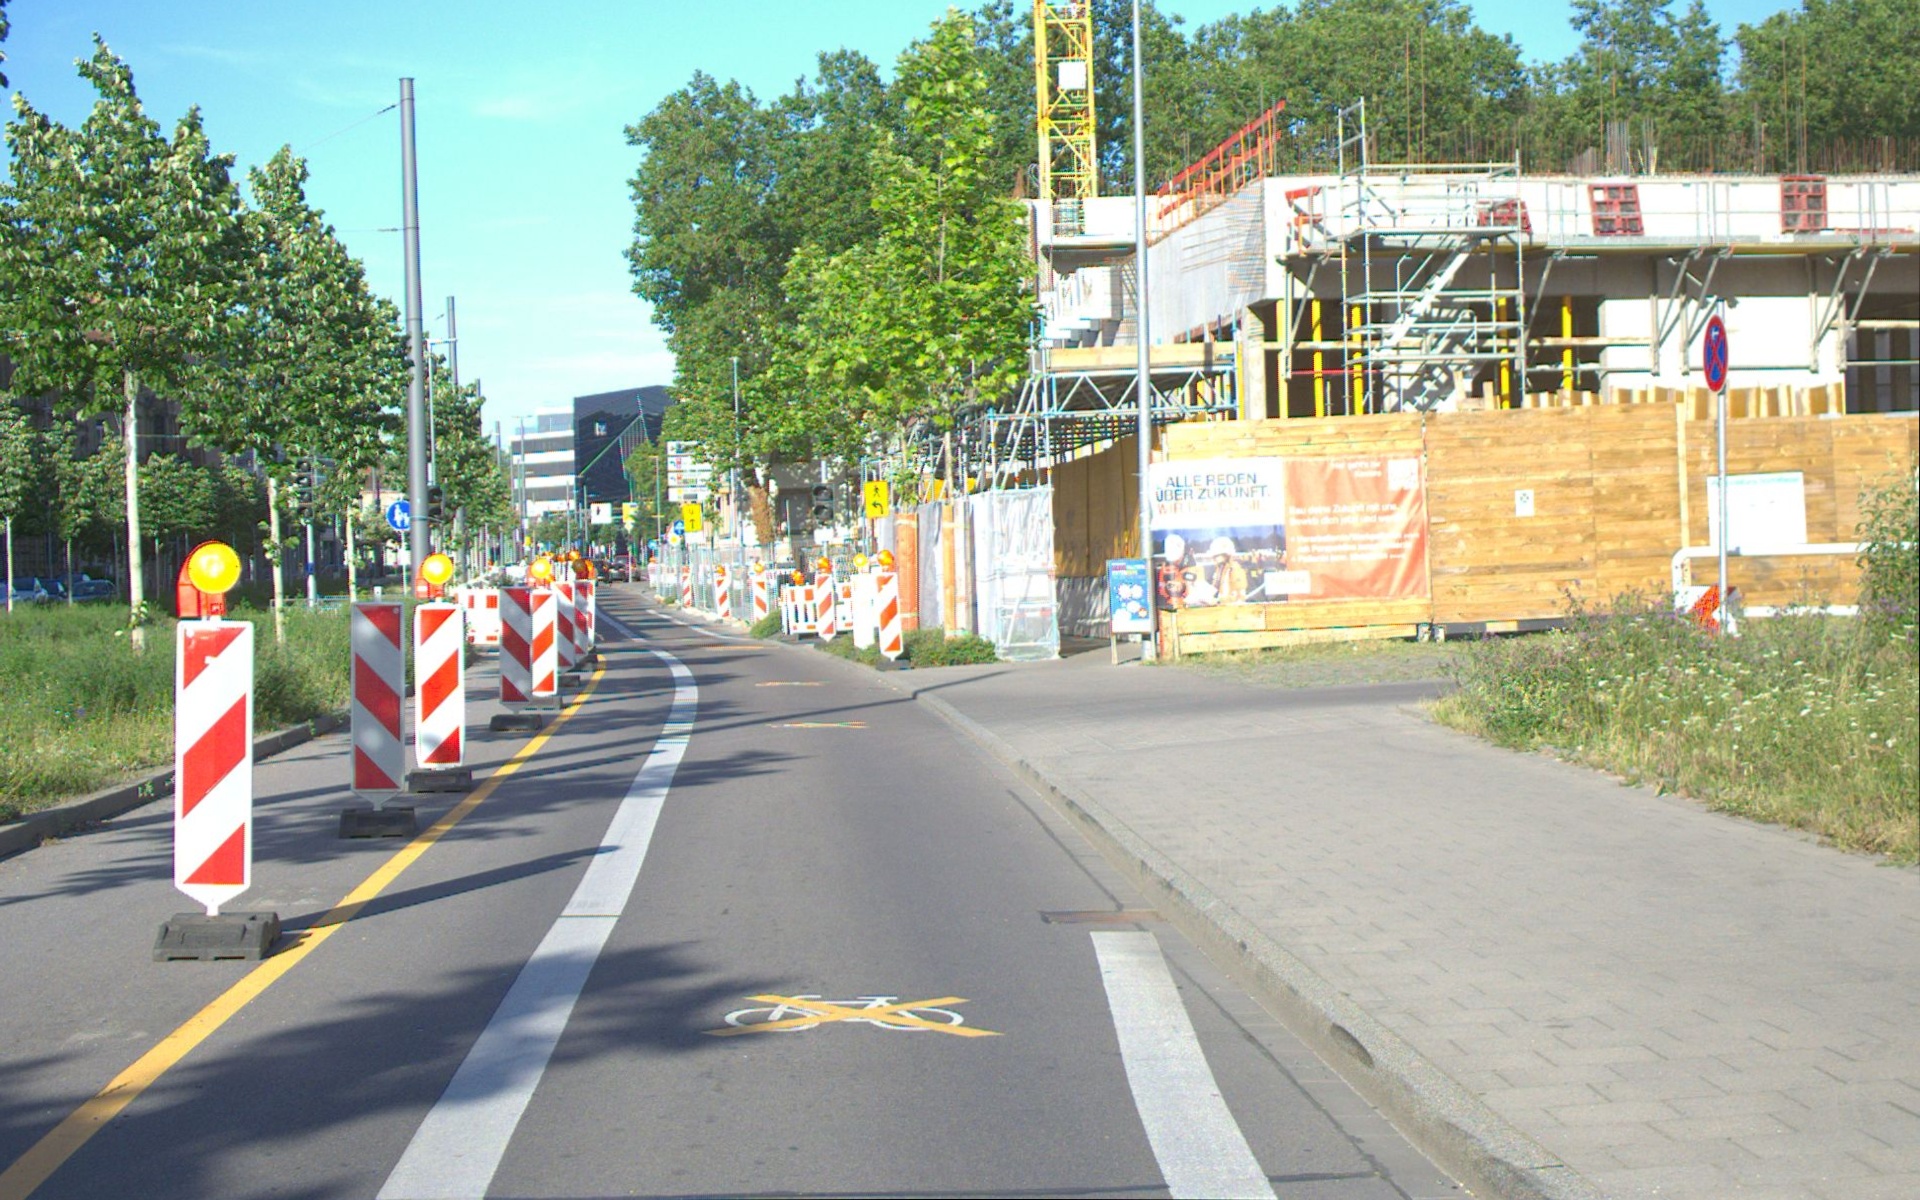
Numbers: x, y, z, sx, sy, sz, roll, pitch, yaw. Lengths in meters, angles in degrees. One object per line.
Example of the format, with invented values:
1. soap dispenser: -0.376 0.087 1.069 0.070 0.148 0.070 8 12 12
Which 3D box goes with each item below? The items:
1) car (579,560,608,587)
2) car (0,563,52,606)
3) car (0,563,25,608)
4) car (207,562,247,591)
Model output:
1. car: -25.708 -1.860 241.221 1.883 1.836 3.668 -2 1 -7
2. car: -36.288 -0.613 133.091 1.566 1.557 4.716 -2 1 -7
3. car: -35.078 -0.514 124.691 1.566 1.557 4.716 -2 1 -7
4. car: -38.012 -1.232 178.275 1.594 1.478 3.624 0 1 -5
